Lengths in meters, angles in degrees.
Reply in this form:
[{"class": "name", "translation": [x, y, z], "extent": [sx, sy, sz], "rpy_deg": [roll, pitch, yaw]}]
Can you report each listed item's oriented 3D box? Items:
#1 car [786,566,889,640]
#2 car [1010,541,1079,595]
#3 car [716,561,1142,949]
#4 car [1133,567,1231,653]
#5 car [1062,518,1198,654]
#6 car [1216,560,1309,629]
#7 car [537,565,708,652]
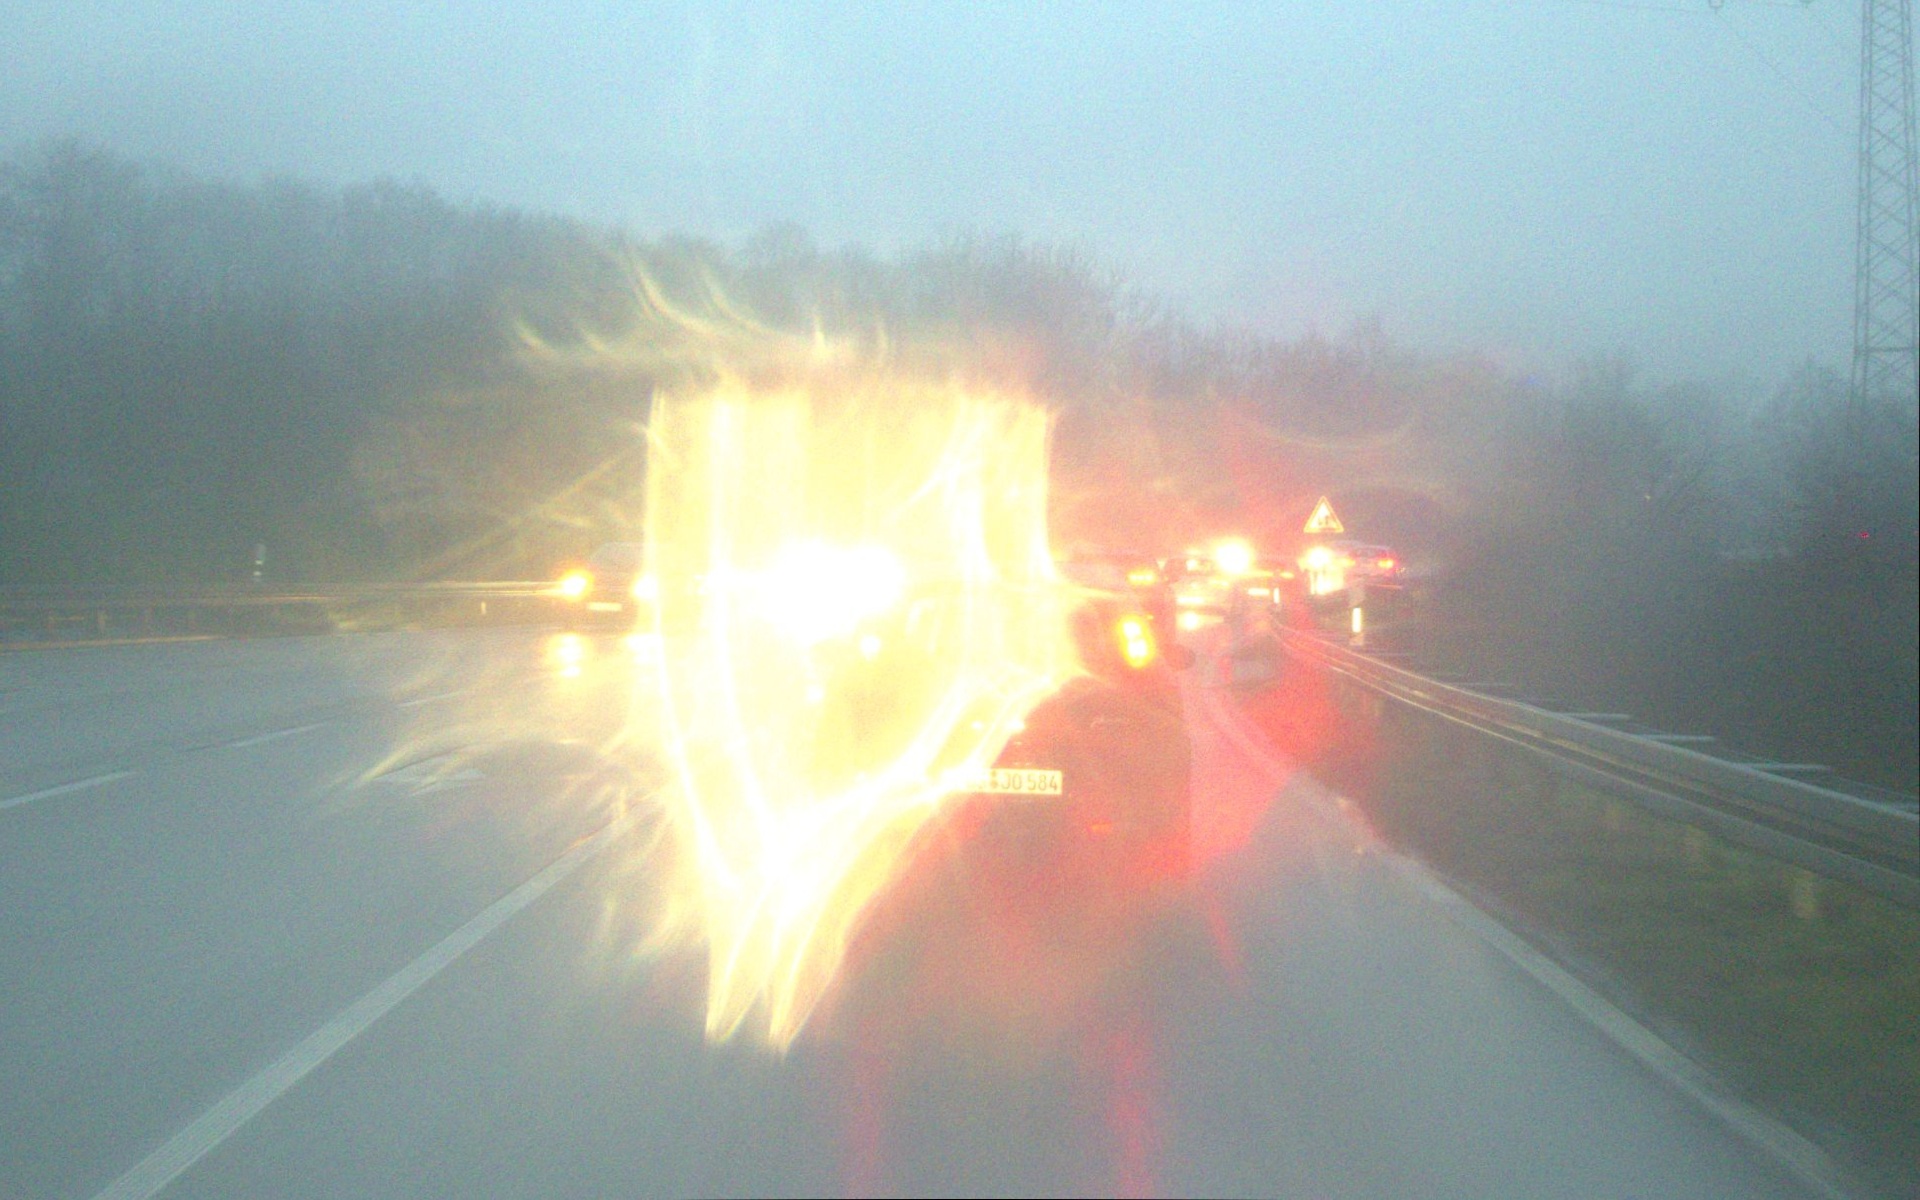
[{"class": "car", "translation": [-2.524, 0.045, 71.689], "extent": [1.695, 1.413, 4.000], "rpy_deg": [2, 1, 4]}, {"class": "car", "translation": [2.596, -1.005, 104.612], "extent": [1.636, 1.467, 4.448], "rpy_deg": [3, 2, 6]}, {"class": "car", "translation": [-0.173, 0.629, 16.498], "extent": [1.730, 1.527, 4.043], "rpy_deg": [-3, 1, -1]}, {"class": "car", "translation": [4.796, 0.182, 73.813], "extent": [1.946, 1.739, 3.999], "rpy_deg": [1, 1, 5]}, {"class": "car", "translation": [2.628, -0.245, 53.852], "extent": [1.946, 2.007, 4.000], "rpy_deg": [1, 1, 1]}, {"class": "car", "translation": [8.088, -0.169, 91.572], "extent": [1.947, 1.739, 3.998], "rpy_deg": [1, 1, 12]}, {"class": "car", "translation": [-5.514, 0.113, 56.610], "extent": [1.596, 1.240, 3.998], "rpy_deg": [4, 2, 12]}]
